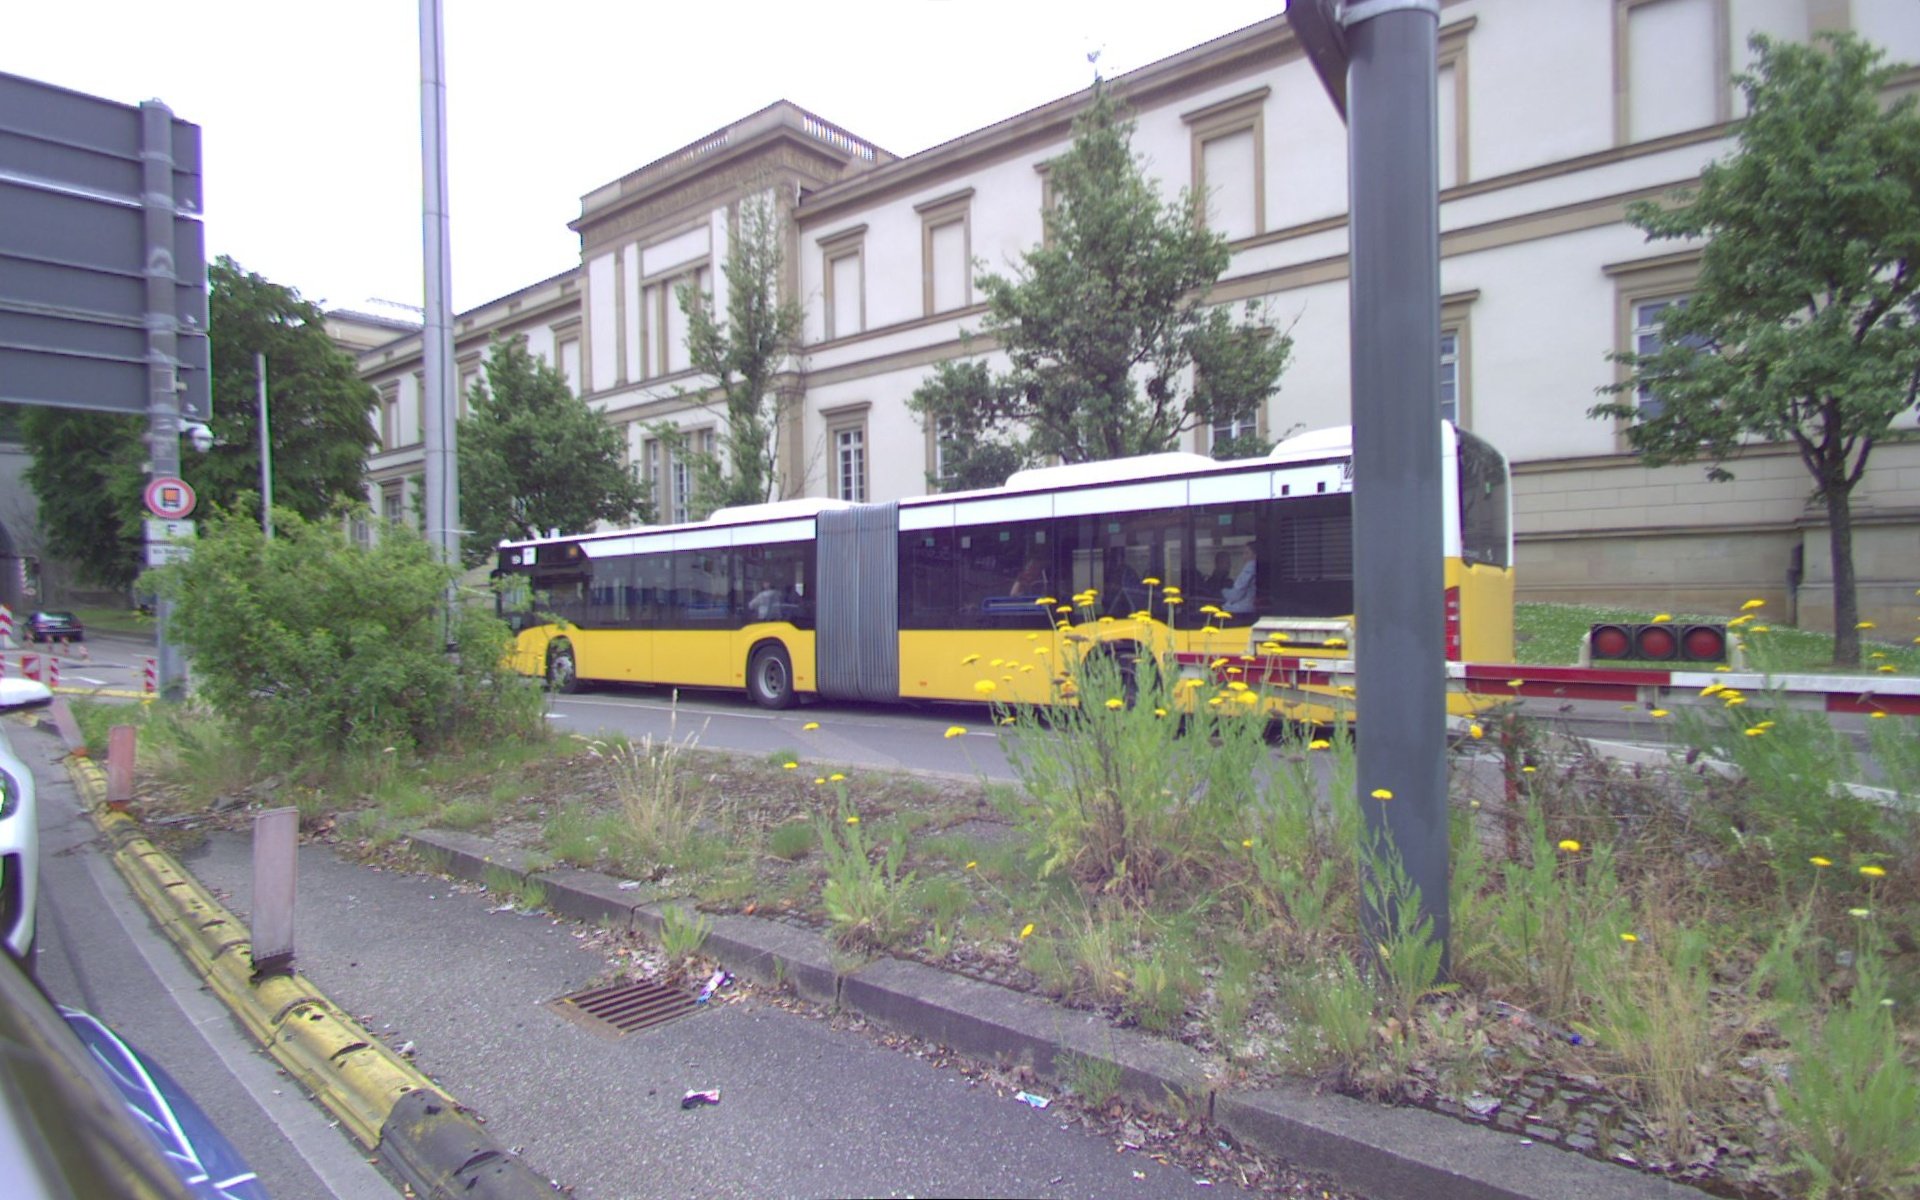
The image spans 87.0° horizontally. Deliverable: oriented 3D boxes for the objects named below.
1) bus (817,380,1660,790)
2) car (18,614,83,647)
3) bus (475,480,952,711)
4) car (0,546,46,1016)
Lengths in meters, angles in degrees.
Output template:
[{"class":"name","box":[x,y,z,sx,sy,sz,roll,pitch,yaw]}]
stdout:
[{"class":"bus","box":[2.456,-0.054,11.798,9.116,3.137,2.817,-1,0,41]},{"class":"car","box":[-43.949,1.459,48.868,4.626,1.482,1.683,-1,0,40]},{"class":"bus","box":[-4.815,0.011,17.894,9.737,3.137,2.818,-1,0,39]},{"class":"car","box":[-5.252,0.672,4.169,3.881,1.603,1.824,-2,0,42]}]
